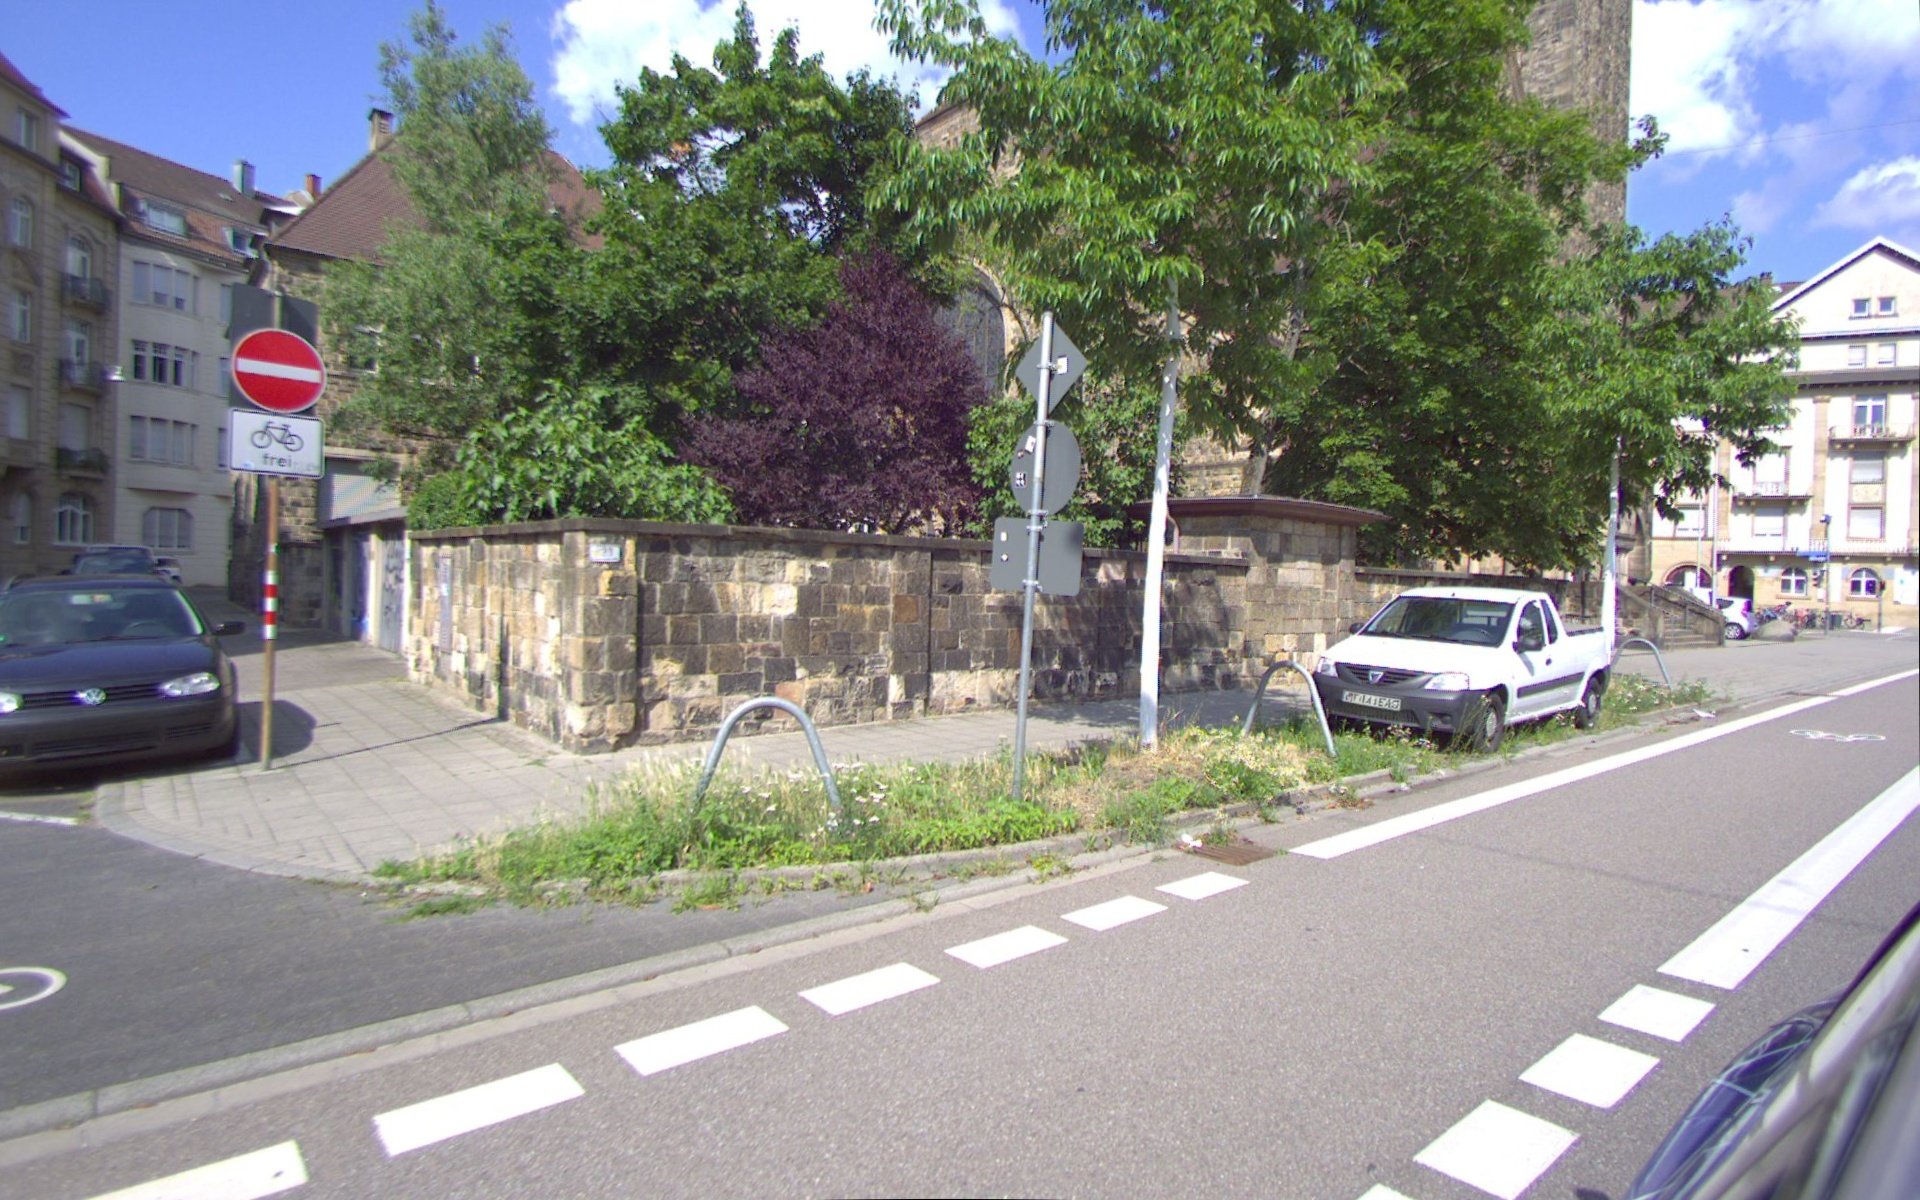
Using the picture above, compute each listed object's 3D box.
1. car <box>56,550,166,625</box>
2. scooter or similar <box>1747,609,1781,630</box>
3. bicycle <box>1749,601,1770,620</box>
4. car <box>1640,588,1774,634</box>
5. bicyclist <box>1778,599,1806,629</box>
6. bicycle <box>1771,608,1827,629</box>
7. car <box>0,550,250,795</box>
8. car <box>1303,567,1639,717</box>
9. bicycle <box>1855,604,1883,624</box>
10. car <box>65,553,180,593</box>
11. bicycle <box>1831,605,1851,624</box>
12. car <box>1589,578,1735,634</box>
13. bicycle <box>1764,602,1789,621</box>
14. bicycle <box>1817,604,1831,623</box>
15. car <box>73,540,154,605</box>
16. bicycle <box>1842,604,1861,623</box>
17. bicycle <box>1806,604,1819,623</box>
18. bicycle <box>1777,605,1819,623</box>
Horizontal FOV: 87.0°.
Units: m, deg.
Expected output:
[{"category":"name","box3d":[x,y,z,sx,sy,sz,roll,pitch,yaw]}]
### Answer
[{"category":"car","box3d":[-19.944,-0.356,23.759,1.793,1.574,4.260,-3,3,-41]},{"category":"scooter or similar","box3d":[41.542,0.994,52.291,1.117,0.989,0.884,2,0,21]},{"category":"bicycle","box3d":[49.928,0.650,63.212,0.534,1.030,1.914,2,3,24]},{"category":"car","box3d":[28.151,0.379,38.235,1.766,1.566,3.773,1,1,-41]},{"category":"bicyclist","box3d":[42.975,0.740,52.263,0.911,1.523,0.647,2,-2,21]},{"category":"bicycle","box3d":[43.238,0.956,52.167,2.109,1.001,0.648,2,0,21]},{"category":"car","box3d":[-7.257,0.393,8.436,1.727,1.574,4.260,-3,3,-41]},{"category":"car","box3d":[5.801,0.426,11.402,3.768,1.434,1.675,1,-1,-32]},{"category":"bicycle","box3d":[54.802,0.841,61.054,0.603,1.031,1.864,2,3,21]},{"category":"car","box3d":[-35.395,-1.175,42.925,1.787,1.574,4.275,-1,3,-9]},{"category":"bicycle","box3d":[52.766,0.860,60.605,1.843,1.031,0.602,-2,3,-39]},{"category":"car","box3d":[25.305,0.187,36.546,1.832,1.846,4.008,1,1,-42]},{"category":"bicycle","box3d":[50.123,0.699,62.142,0.533,1.030,1.917,1,3,20]},{"category":"bicycle","box3d":[52.259,0.807,61.202,0.537,1.031,1.902,3,4,38]},{"category":"car","box3d":[-26.529,-0.912,31.696,1.793,1.896,4.260,-3,3,-41]},{"category":"bicycle","box3d":[54.131,0.810,61.455,0.606,1.031,1.855,2,3,33]},{"category":"bicycle","box3d":[51.687,0.797,61.373,0.537,1.030,1.902,3,4,38]},{"category":"bicycle","box3d":[50.098,0.832,60.512,1.897,1.031,0.539,1,3,9]}]
